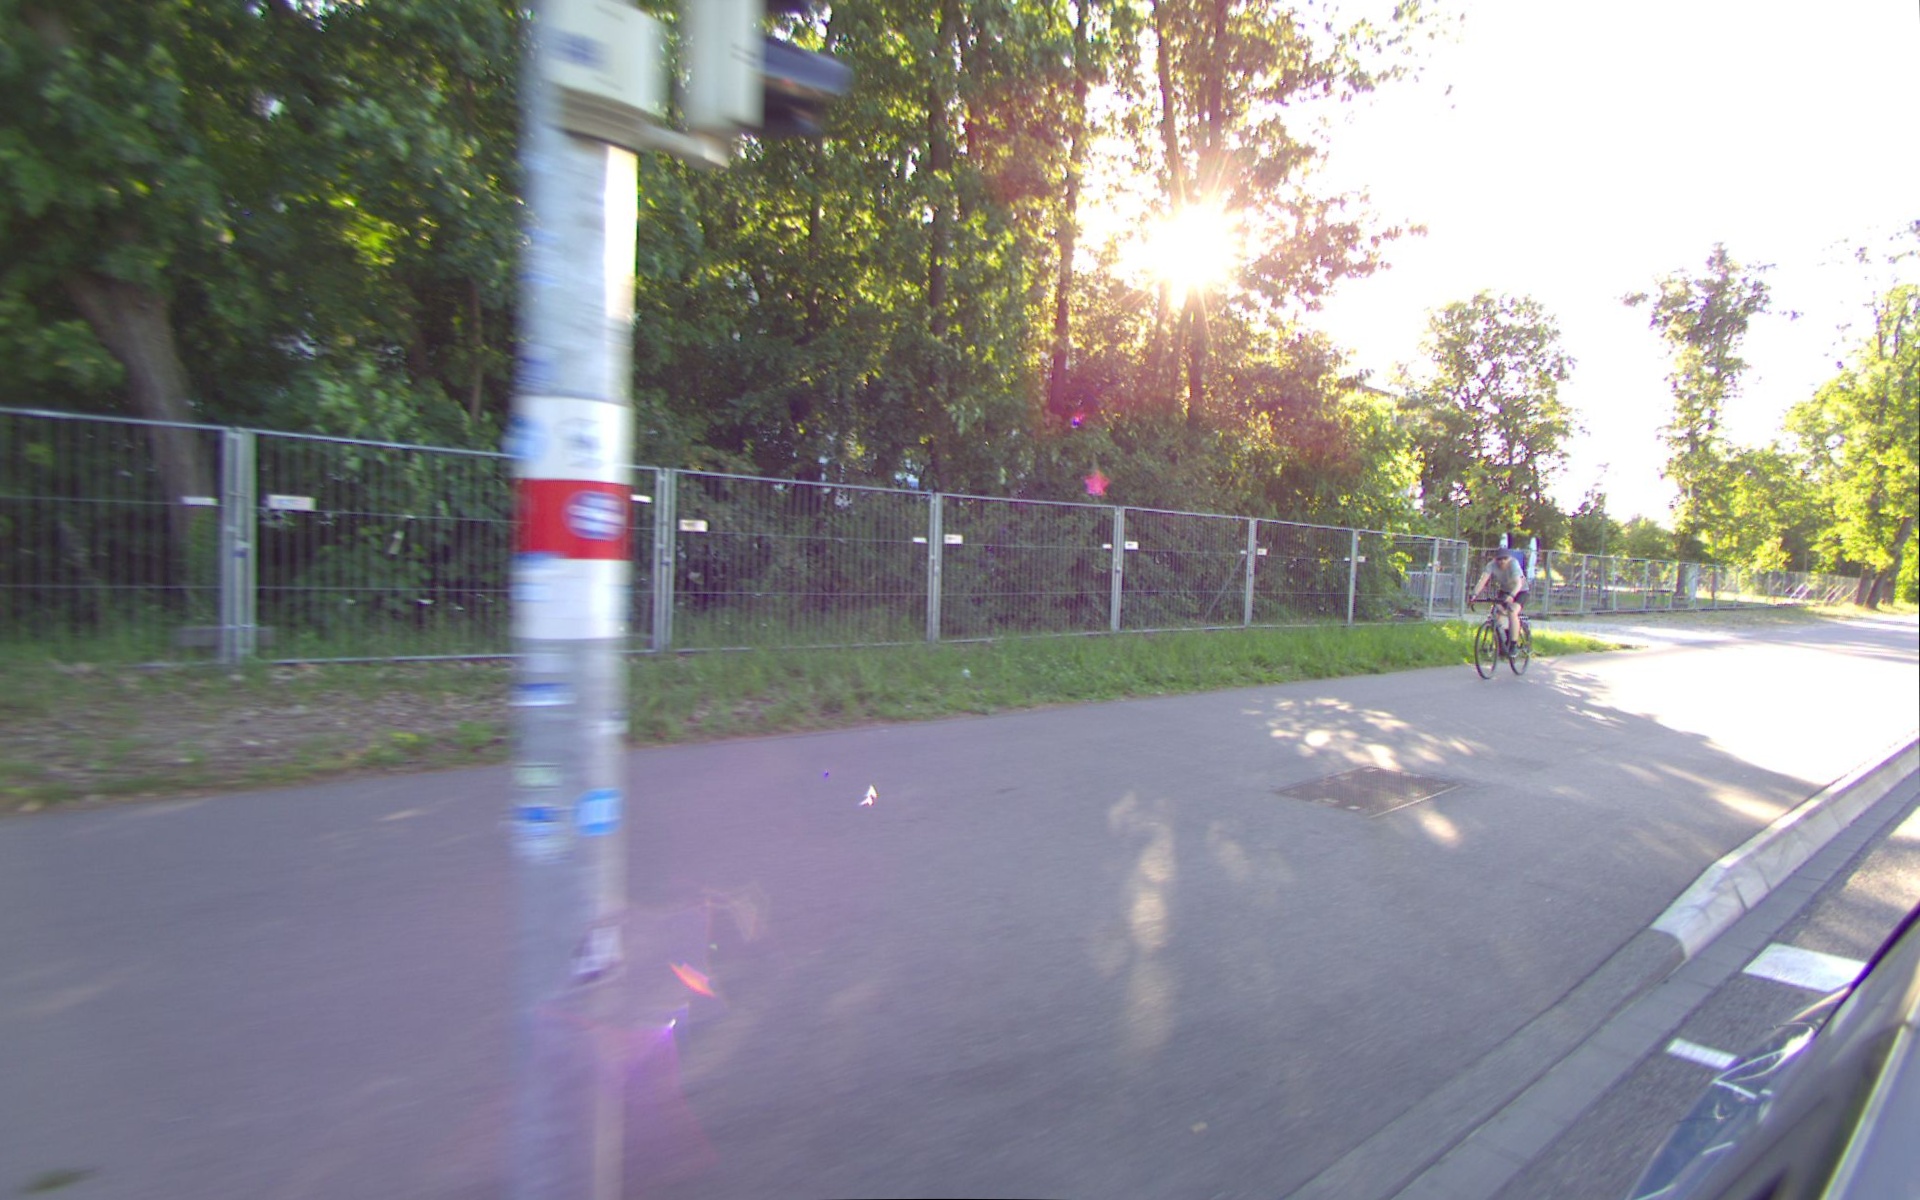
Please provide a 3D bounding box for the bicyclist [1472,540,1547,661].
[{"bbox_3d":[7.032,-0.012,12.944,0.846,1.487,0.521,0,3,-40],"label":"bicyclist"}]

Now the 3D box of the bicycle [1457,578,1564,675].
[{"bbox_3d":[7.110,0.304,13.031,1.831,1.151,0.555,-1,3,-41],"label":"bicycle"}]
